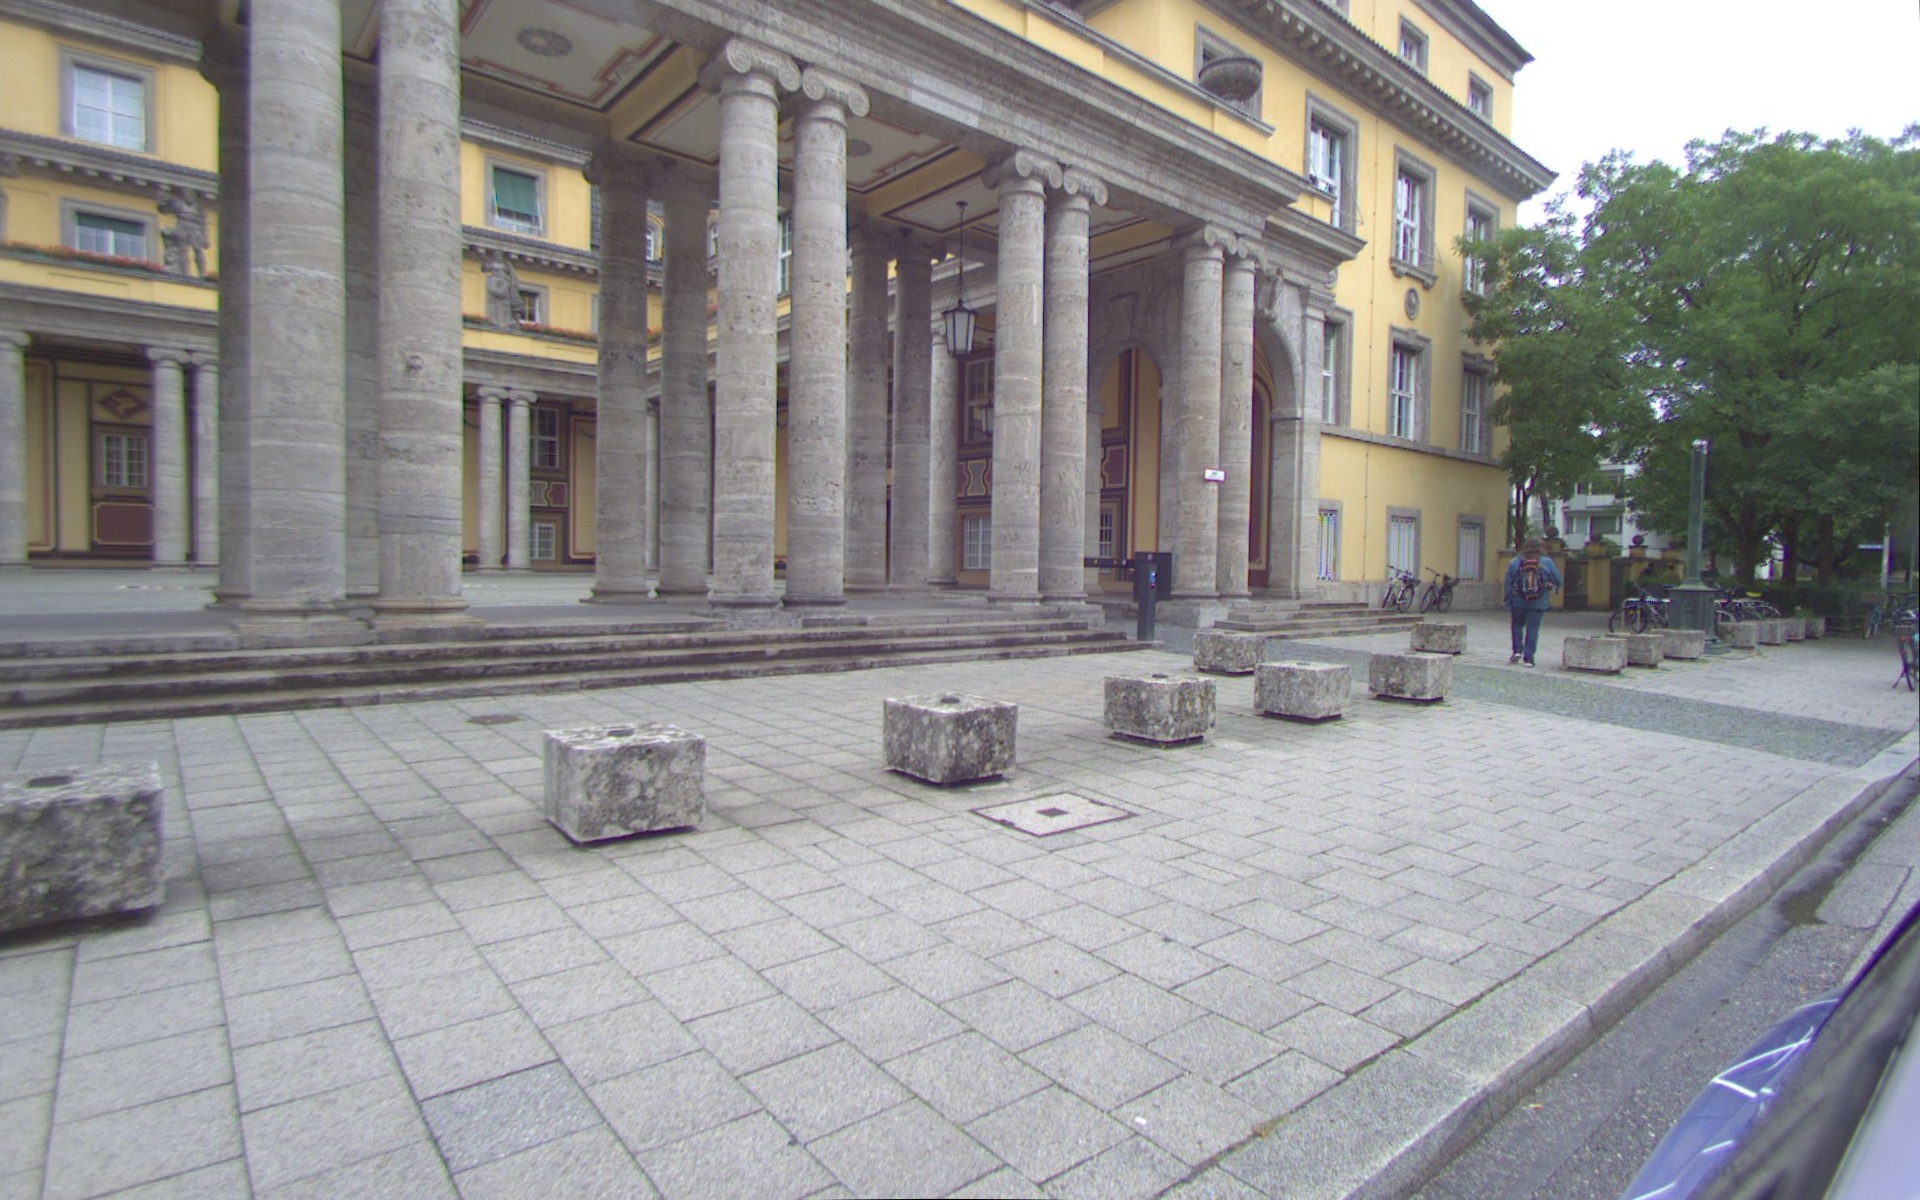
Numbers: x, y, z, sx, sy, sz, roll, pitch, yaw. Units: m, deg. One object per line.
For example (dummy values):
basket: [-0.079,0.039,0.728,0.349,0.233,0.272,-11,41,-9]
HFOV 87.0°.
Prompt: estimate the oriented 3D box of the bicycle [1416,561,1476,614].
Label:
bicycle: [12.842,-0.343,26.707,2.127,1.323,0.601,-1,3,-41]

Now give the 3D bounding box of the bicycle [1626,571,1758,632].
bicycle: [16.190,0.001,22.432,2.255,1.035,0.593,9,8,39]

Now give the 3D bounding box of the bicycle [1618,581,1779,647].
bicycle: [13.944,0.233,19.172,2.362,1.018,0.668,6,5,42]

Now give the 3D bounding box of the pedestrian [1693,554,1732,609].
pedestrian: [26.577,-0.668,35.738,1.017,1.887,0.782,-1,6,-41]

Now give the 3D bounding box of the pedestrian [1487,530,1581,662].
pedestrian: [8.033,-0.078,14.169,1.037,1.767,0.789,-1,3,-41]

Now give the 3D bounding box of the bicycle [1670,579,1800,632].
bicycle: [18.001,0.103,23.565,0.591,1.023,2.264,1,4,-37]

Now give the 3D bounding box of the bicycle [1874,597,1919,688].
bicycle: [13.273,0.564,13.890,2.225,1.113,0.762,-1,5,-41]

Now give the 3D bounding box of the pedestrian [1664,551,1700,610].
pedestrian: [24.077,-0.661,33.755,0.806,1.887,0.659,-1,6,-40]

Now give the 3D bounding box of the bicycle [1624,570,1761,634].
bicycle: [15.654,0.016,21.675,2.255,1.071,0.593,9,8,39]

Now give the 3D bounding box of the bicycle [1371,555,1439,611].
bicycle: [11.090,-0.427,25.191,2.224,1.323,0.601,-1,3,-41]

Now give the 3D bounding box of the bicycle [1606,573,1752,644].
bicycle: [14.422,0.142,20.356,2.255,1.107,0.593,9,8,39]

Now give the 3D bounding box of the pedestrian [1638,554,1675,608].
pedestrian: [23.610,-0.649,34.302,0.827,1.764,0.741,-1,6,-40]
